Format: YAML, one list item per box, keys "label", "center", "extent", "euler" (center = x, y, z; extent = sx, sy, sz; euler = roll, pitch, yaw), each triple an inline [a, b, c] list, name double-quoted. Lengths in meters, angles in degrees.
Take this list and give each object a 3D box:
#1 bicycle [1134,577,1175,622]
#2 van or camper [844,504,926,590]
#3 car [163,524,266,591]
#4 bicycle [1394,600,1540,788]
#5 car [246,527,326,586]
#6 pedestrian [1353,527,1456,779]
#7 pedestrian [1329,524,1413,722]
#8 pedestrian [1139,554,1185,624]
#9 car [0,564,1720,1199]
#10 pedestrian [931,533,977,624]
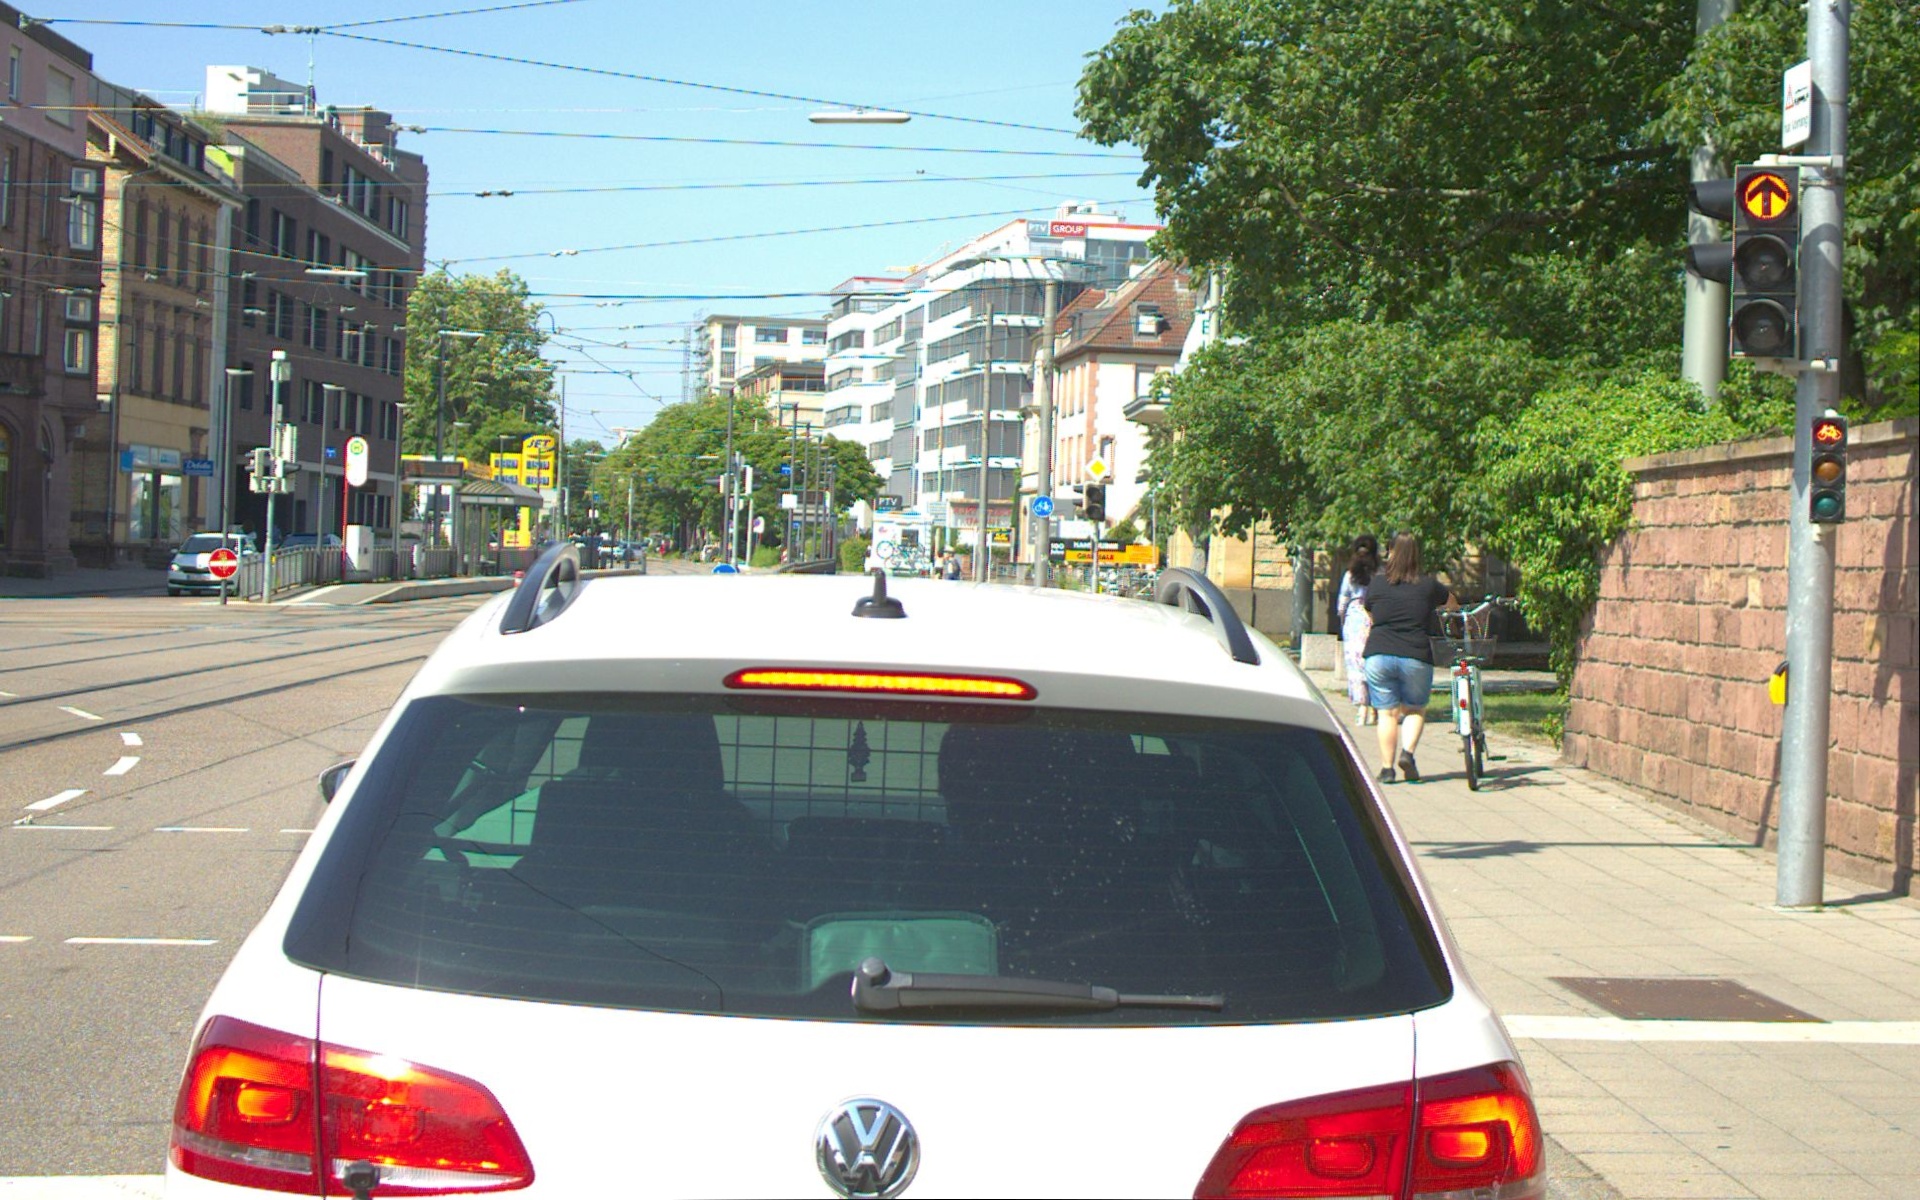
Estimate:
- label: "bicycle"
  center: [5.118, -0.020, 90.470]
  extent: [0.726, 1.135, 2.193]
  euler: [2, 1, 12]
- label: "van or camper"
  center: [-2.883, -2.070, 133.759]
  extent: [2.944, 3.169, 6.613]
  euler: [2, 1, 0]
- label: "car"
  center: [-17.399, -0.993, 80.398]
  extent: [1.625, 1.426, 3.963]
  euler: [3, 1, -2]
- label: "bicycle"
  center: [3.161, 0.566, 21.559]
  extent: [0.536, 1.107, 1.807]
  euler: [1, 0, -3]
- label: "car"
  center: [-17.639, -1.147, 90.040]
  extent: [1.572, 1.454, 3.815]
  euler: [2, 1, -4]
- label: "pedestrian"
  center: [2.763, 0.320, 21.417]
  extent: [0.540, 1.543, 0.663]
  euler: [0, 1, -1]
- label: "pedestrian"
  center: [3.572, 0.191, 29.919]
  extent: [0.650, 1.676, 0.707]
  euler: [2, 1, 5]
- label: "pedestrian"
  center: [4.474, -0.251, 76.081]
  extent: [0.856, 1.505, 0.781]
  euler: [2, 1, 11]
- label: "car"
  center: [-0.156, 0.687, 5.370]
  extent: [1.752, 1.413, 3.853]
  euler: [2, 1, -1]
- label: "pedestrian"
  center: [-0.114, -0.443, 69.898]
  extent: [0.831, 1.803, 0.829]
  euler: [2, 1, 3]
